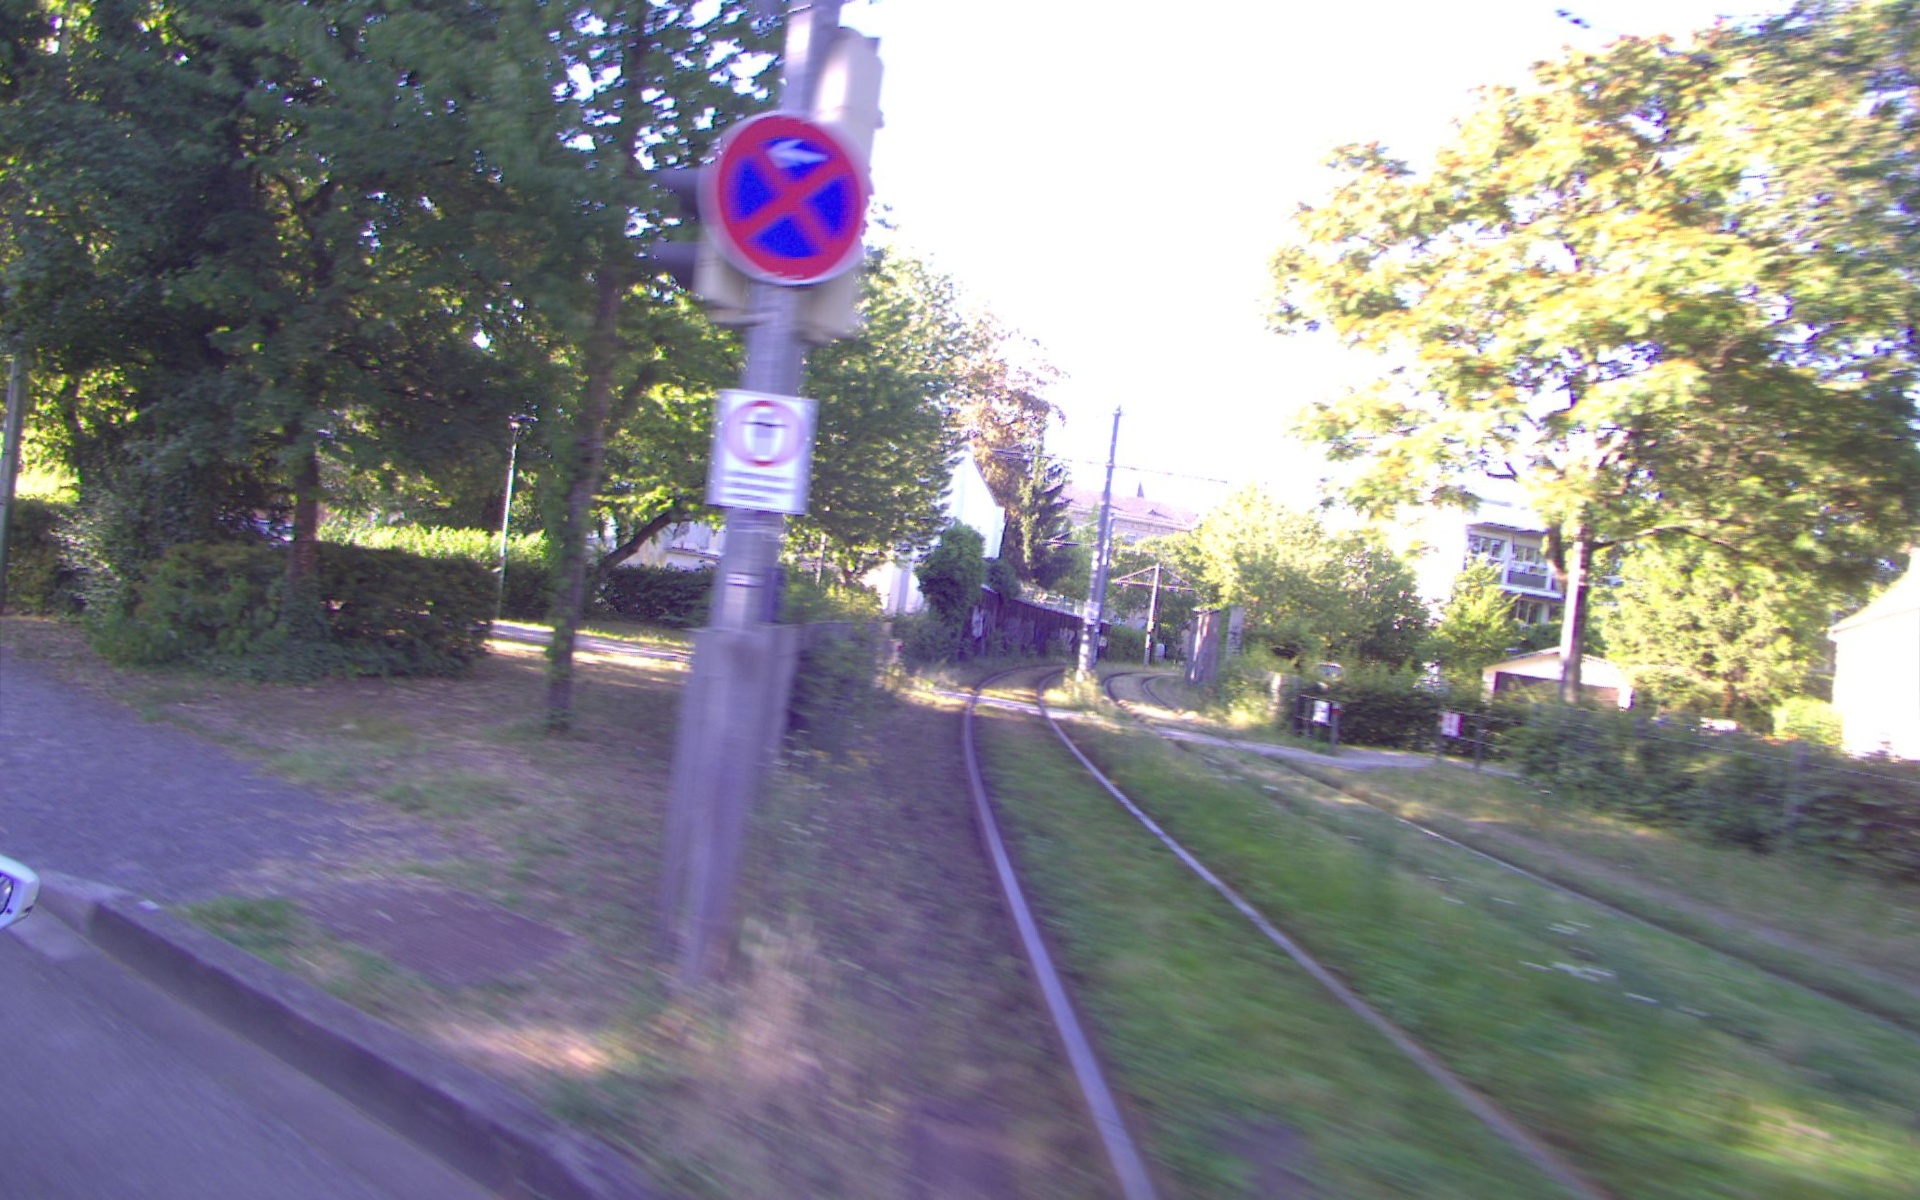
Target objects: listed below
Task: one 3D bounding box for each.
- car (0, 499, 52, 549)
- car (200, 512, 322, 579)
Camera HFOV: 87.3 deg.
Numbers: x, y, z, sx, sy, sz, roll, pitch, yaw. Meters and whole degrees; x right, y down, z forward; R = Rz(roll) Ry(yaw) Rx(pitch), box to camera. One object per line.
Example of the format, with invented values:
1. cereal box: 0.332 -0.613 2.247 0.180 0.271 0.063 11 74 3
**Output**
1. car: -31.616 -2.585 32.756 1.370 1.439 3.420 9 -2 -12
2. car: -26.457 -2.003 38.312 1.929 2.037 5.140 8 -1 -14
